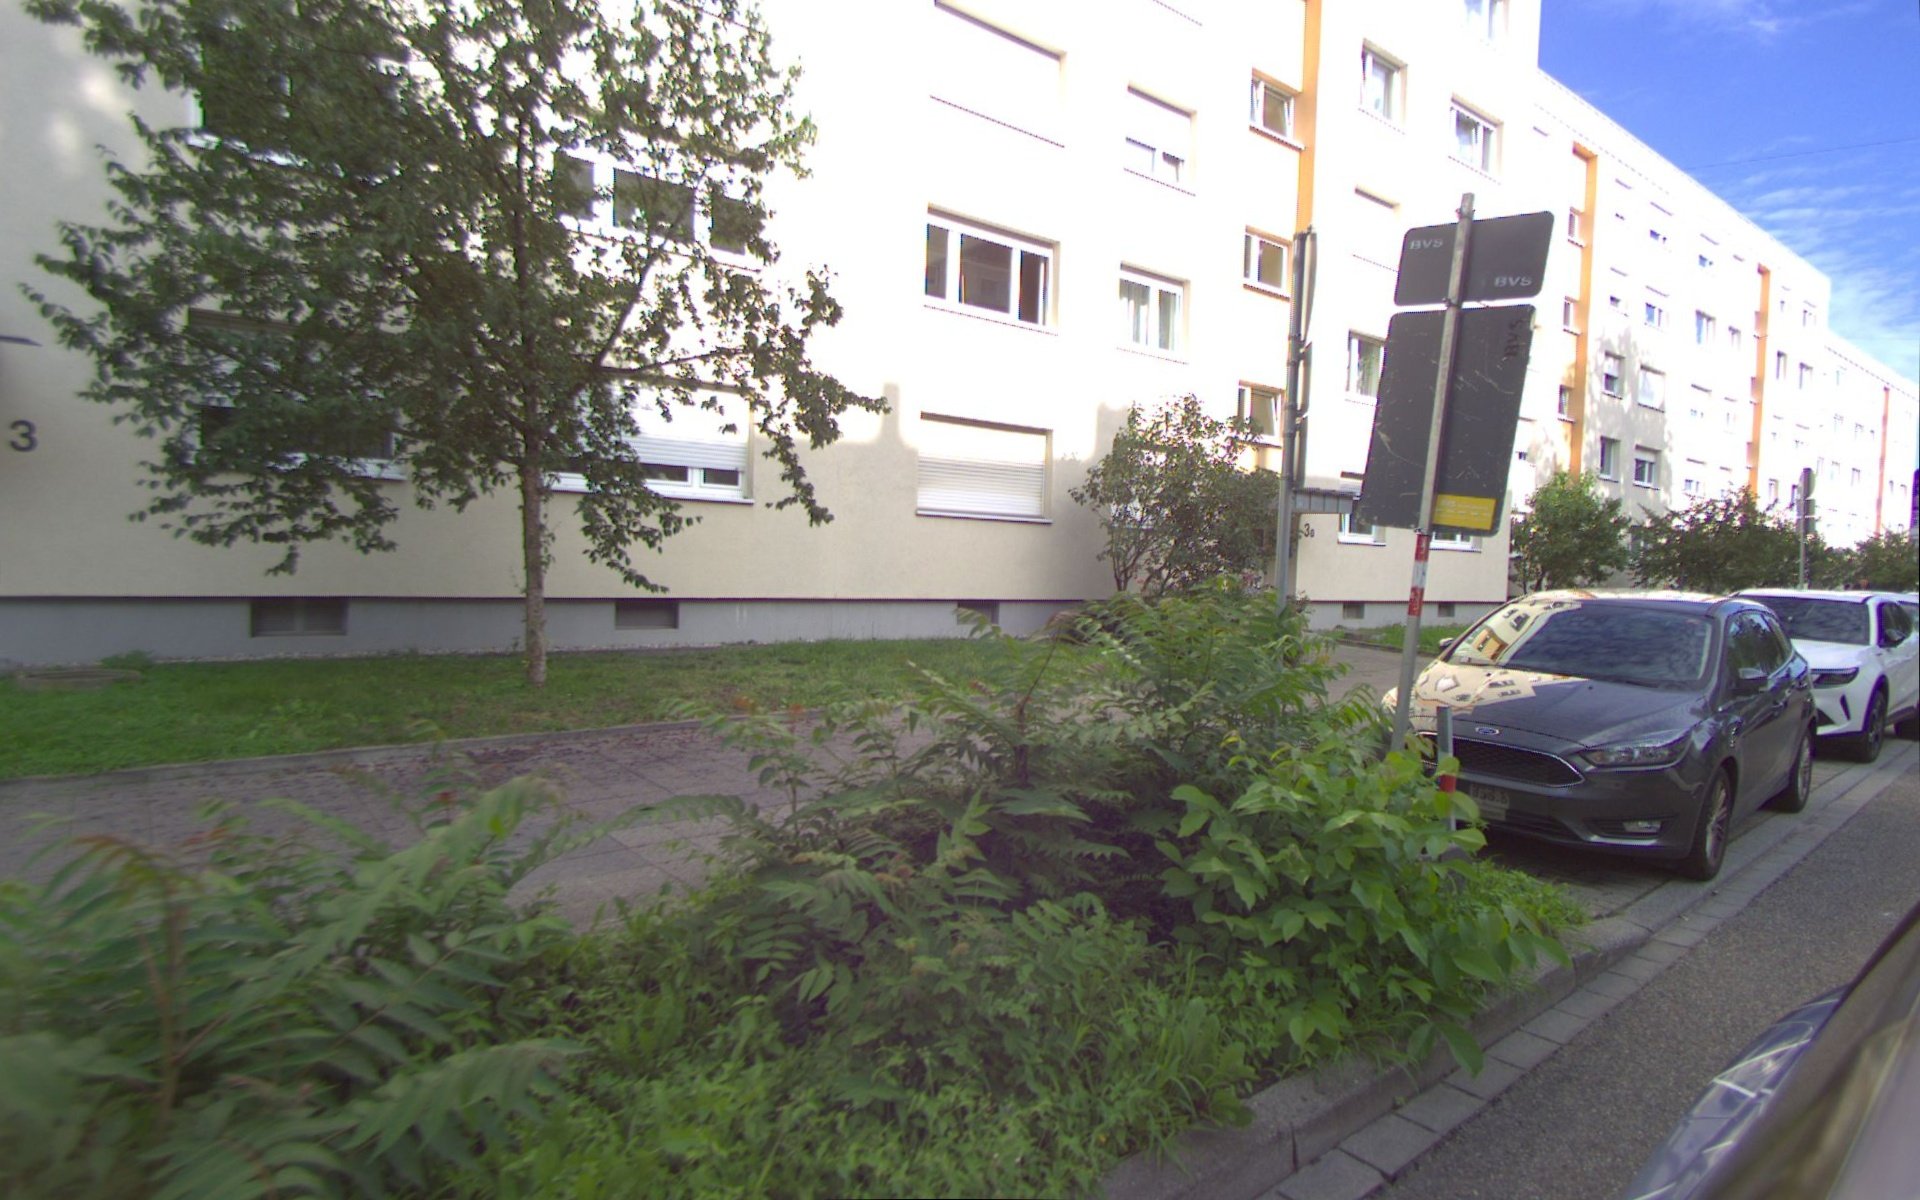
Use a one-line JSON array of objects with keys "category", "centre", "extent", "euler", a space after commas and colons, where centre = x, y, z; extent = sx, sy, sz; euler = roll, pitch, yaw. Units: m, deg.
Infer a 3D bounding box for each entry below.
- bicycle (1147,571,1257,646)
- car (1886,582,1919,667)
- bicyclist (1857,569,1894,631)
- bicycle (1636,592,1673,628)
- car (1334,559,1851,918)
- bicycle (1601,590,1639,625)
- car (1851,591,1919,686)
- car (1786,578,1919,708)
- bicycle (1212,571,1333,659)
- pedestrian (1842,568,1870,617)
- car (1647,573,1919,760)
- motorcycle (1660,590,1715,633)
[{"category": "bicycle", "centre": [4.002, 0.127, 16.607], "extent": [2.170, 1.128, 0.530], "euler": [0, 4, -41]}, {"category": "car", "centre": [19.992, 0.495, 20.239], "extent": [4.047, 1.599, 1.732], "euler": [0, 4, -42]}, {"category": "bicyclist", "centre": [25.933, -0.017, 28.657], "extent": [0.877, 1.698, 0.624], "euler": [0, 2, -41]}, {"category": "bicycle", "centre": [19.206, 0.265, 27.972], "extent": [1.490, 0.953, 0.459], "euler": [0, 4, -42]}, {"category": "car", "centre": [4.277, 0.593, 6.545], "extent": [4.165, 1.546, 1.693], "euler": [0, 4, -42]}, {"category": "bicycle", "centre": [18.641, 0.214, 28.579], "extent": [1.490, 0.938, 0.459], "euler": [0, 4, -42]}, {"category": "car", "centre": [16.322, 0.617, 17.138], "extent": [3.616, 1.414, 1.517], "euler": [-1, 4, -45]}, {"category": "car", "centre": [13.213, 0.541, 14.461], "extent": [3.408, 1.575, 1.555], "euler": [0, 4, -41]}, {"category": "bicycle", "centre": [4.780, 0.210, 15.373], "extent": [2.170, 1.200, 0.599], "euler": [0, 6, -41]}, {"category": "pedestrian", "centre": [32.230, -0.261, 36.402], "extent": [0.756, 1.743, 0.544], "euler": [0, 2, -35]}, {"category": "car", "centre": [8.967, 0.559, 10.598], "extent": [4.160, 1.547, 1.695], "euler": [0, 3, -38]}, {"category": "motorcycle", "centre": [19.326, 0.292, 26.862], "extent": [2.352, 1.057, 0.632], "euler": [0, 4, -42]}]
